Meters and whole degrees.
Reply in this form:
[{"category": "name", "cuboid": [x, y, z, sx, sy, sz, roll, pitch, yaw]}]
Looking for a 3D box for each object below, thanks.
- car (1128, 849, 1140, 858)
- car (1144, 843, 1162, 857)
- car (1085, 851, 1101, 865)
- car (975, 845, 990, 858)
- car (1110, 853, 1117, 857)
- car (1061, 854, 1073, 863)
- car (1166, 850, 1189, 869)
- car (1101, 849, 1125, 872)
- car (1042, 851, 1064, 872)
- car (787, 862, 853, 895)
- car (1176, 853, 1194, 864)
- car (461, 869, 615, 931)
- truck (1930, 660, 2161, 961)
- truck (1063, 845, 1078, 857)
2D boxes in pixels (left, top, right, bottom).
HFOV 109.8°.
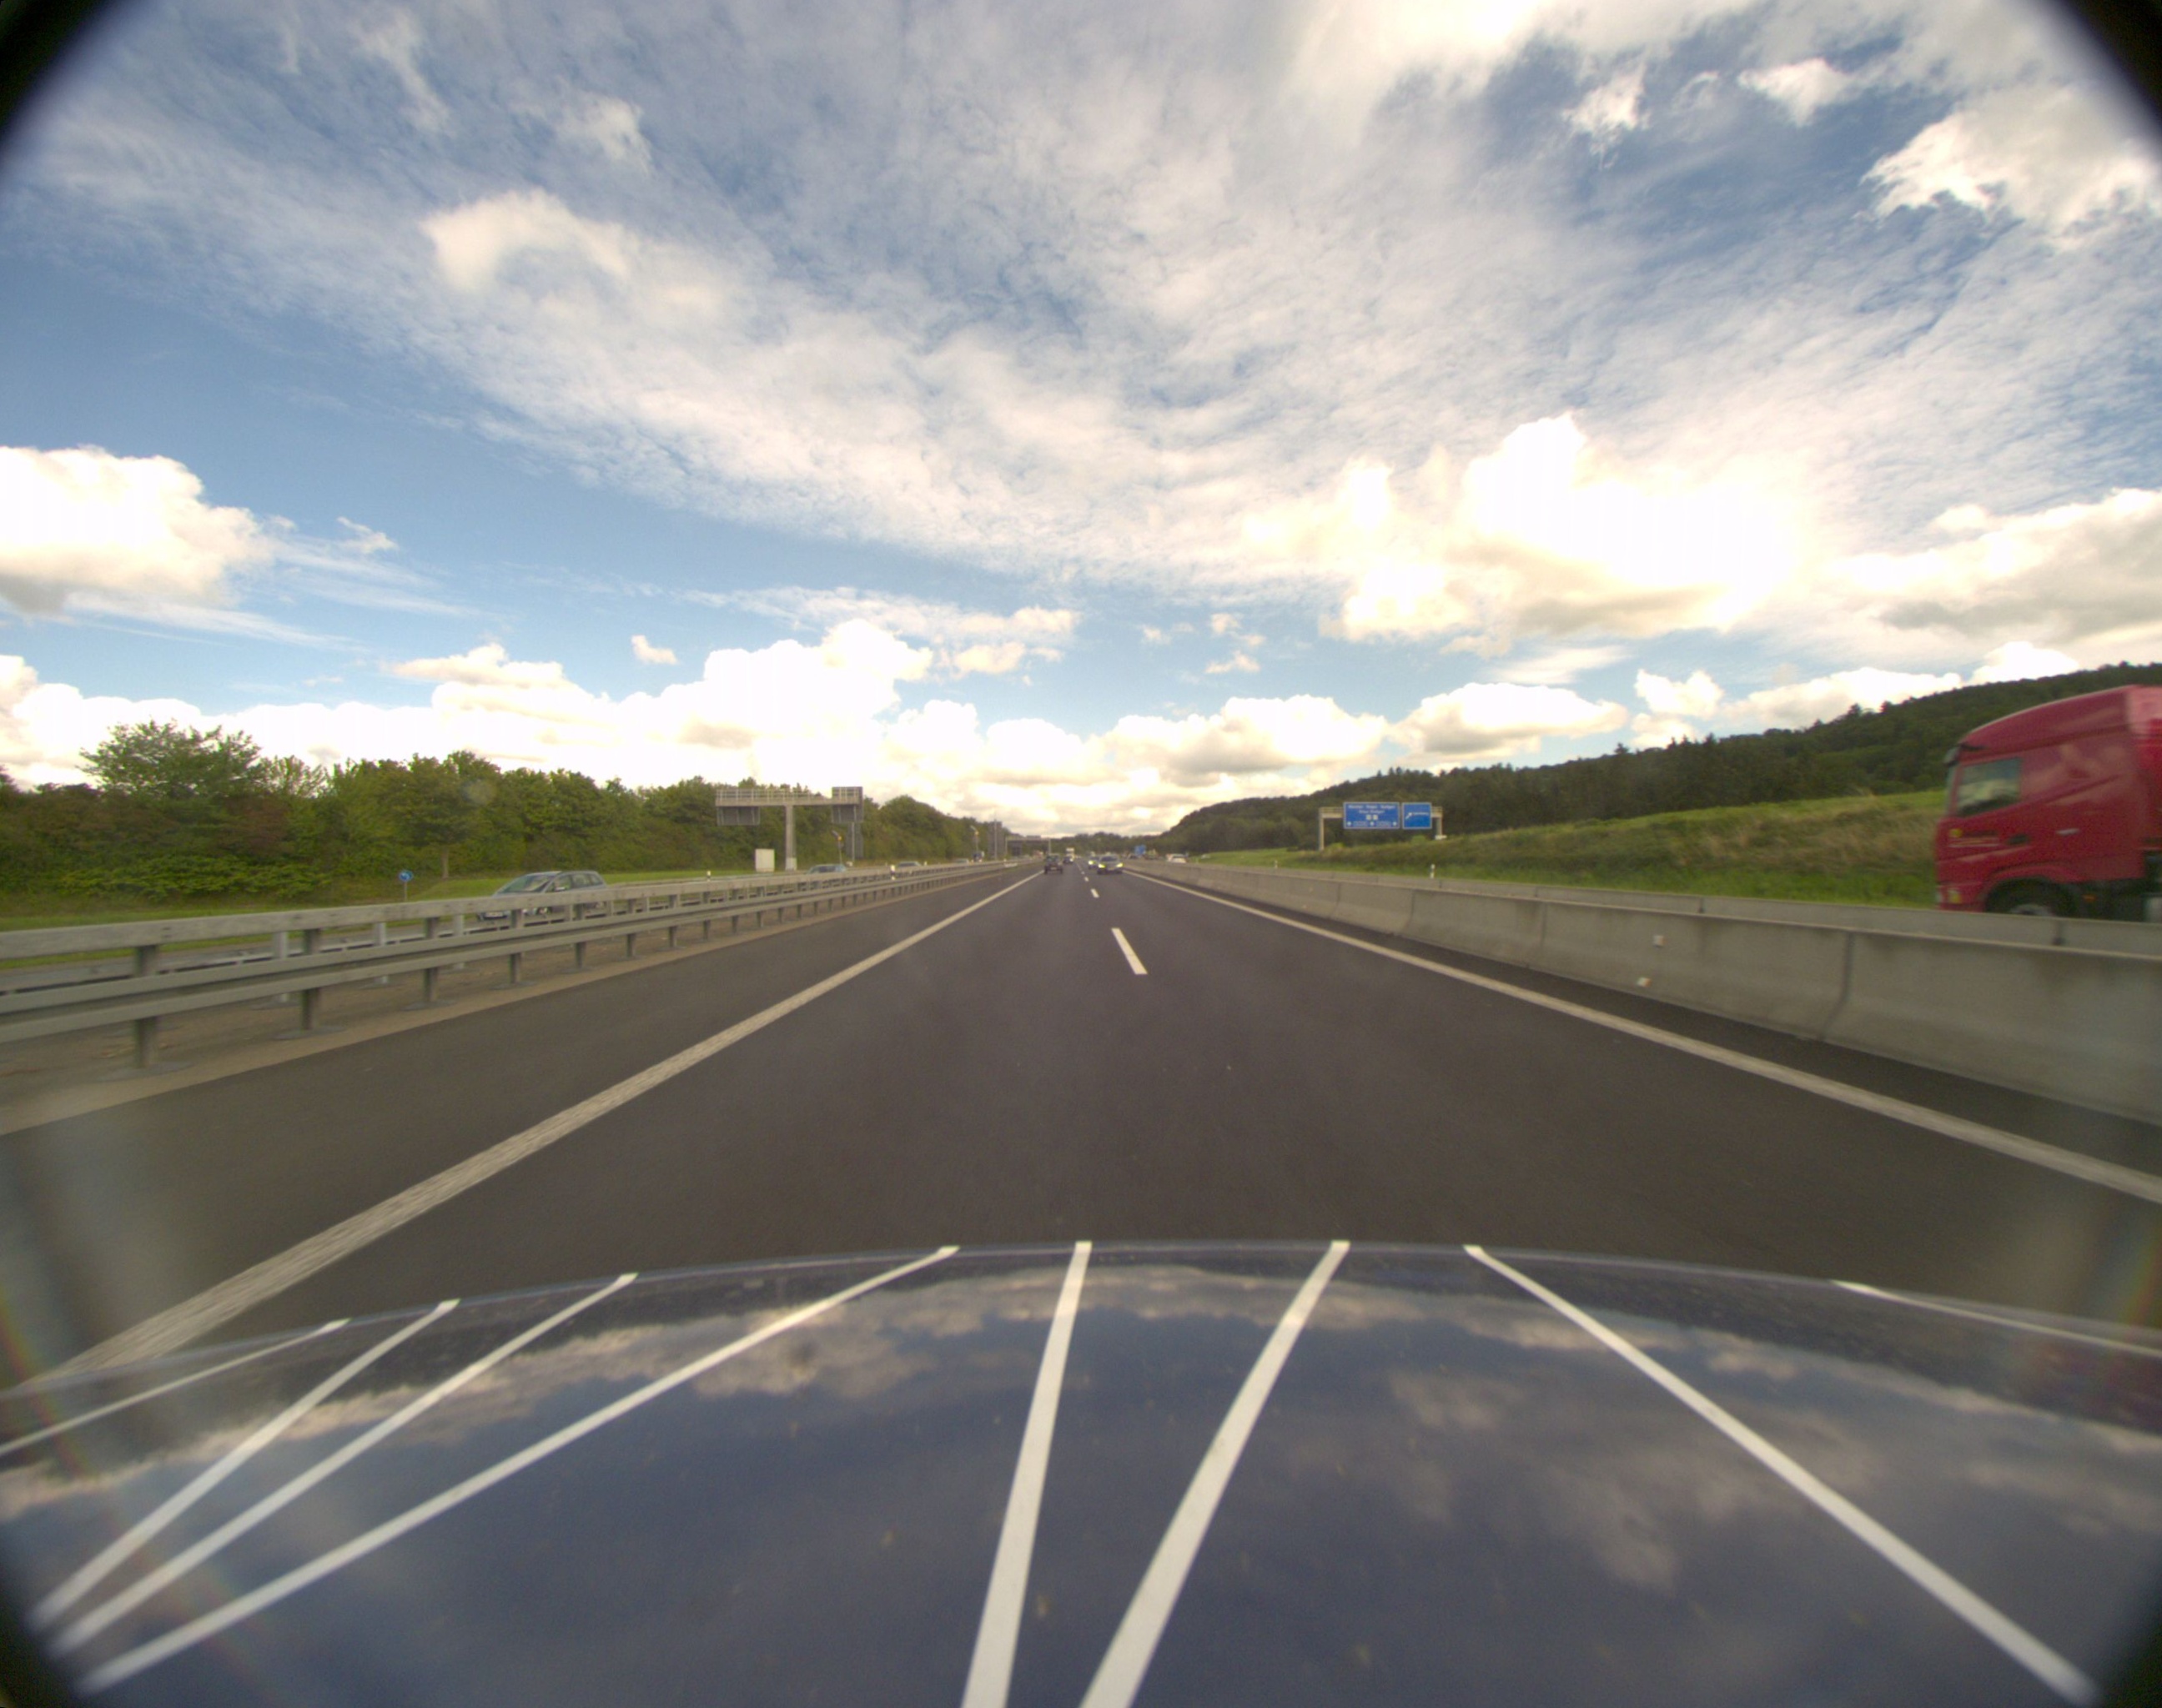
[{"category": "car", "cuboid": [10.183, -0.071, 145.216, 1.998, 1.564, 5.364, 0, 1, 1]}, {"category": "car", "cuboid": [10.340, -0.623, 109.631, 1.998, 2.002, 5.840, 0, 1, 1]}, {"category": "car", "cuboid": [1.333, 0.425, 83.954, 1.724, 1.406, 3.938, -1, 1, 1]}, {"category": "car", "cuboid": [-17.863, -0.435, 138.153, 1.999, 2.173, 5.127, -1, 1, -1]}, {"category": "car", "cuboid": [9.604, 0.284, 224.543, 1.792, 1.390, 4.622, 0, 1, 0]}, {"category": "car", "cuboid": [-2.407, 0.805, 132.312, 1.999, 1.591, 3.999, 0, 1, -1]}, {"category": "car", "cuboid": [10.737, 0.624, 84.730, 1.998, 2.002, 4.677, -1, 0, 1]}, {"category": "car", "cuboid": [2.466, 0.495, 59.433, 1.724, 1.722, 3.938, -1, 1, 1]}, {"category": "car", "cuboid": [-2.467, 0.624, 66.864, 1.670, 1.722, 4.207, -1, 1, 1]}, {"category": "car", "cuboid": [-13.128, 1.189, 38.543, 1.999, 1.476, 3.999, -1, 1, -1]}, {"category": "car", "cuboid": [14.969, 0.631, 109.874, 1.998, 1.470, 4.691, 0, 1, 1]}, {"category": "car", "cuboid": [-16.987, 1.369, 24.056, 1.998, 1.698, 3.999, 0, 1, 0]}, {"category": "truck", "cuboid": [15.378, -0.552, 9.070, 2.744, 3.902, 6.900, 0, 1, 1]}, {"category": "truck", "cuboid": [-3.583, -1.082, 265.120, 4.947, 4.306, 14.629, 0, 1, 1]}]
